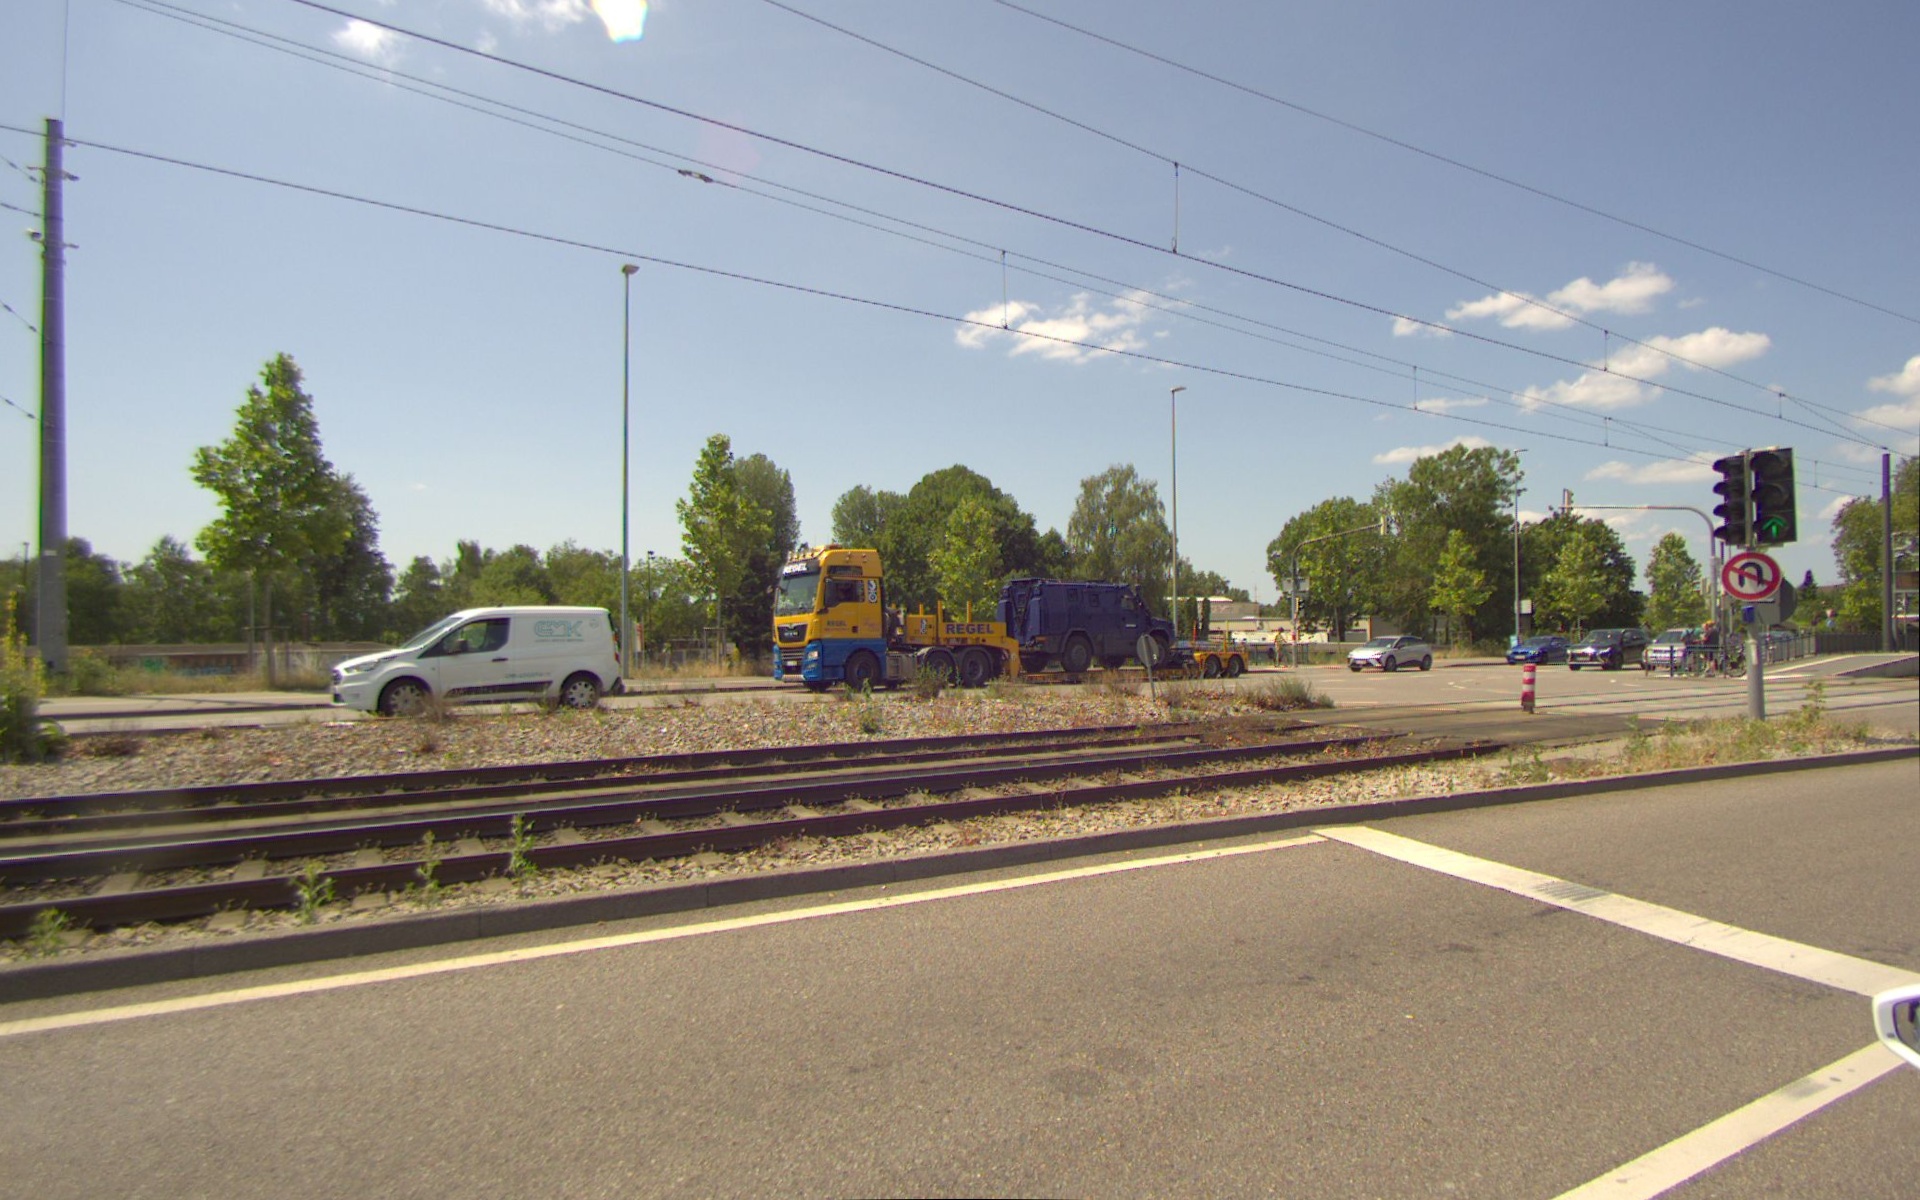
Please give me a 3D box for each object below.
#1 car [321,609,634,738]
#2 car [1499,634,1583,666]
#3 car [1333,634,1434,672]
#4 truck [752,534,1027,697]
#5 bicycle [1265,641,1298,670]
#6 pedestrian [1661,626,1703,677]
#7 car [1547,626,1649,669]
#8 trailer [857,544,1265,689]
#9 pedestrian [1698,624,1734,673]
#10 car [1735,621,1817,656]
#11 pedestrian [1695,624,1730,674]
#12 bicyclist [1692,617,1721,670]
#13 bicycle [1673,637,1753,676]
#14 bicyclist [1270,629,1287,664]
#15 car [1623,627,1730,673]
[{"bbox_3d":[-7.970,1.108,16.808,4.396,1.862,1.977,1,-1,-40],"label":"car"},{"bbox_3d":[29.321,2.487,50.702,4.303,1.464,1.982,1,-1,-33],"label":"car"},{"bbox_3d":[18.144,2.216,42.978,4.232,1.483,1.982,1,-1,-33],"label":"car"},{"bbox_3d":[-1.884,0.446,28.728,7.407,4.092,3.102,1,-1,-38],"label":"truck"},{"bbox_3d":[14.904,2.563,46.580,0.582,1.209,1.525,3,0,-24],"label":"bicycle"},{"bbox_3d":[23.935,1.692,33.302,0.756,1.631,0.950,0,-1,-34],"label":"pedestrian"},{"bbox_3d":[26.093,1.891,41.063,3.954,1.650,1.983,1,-1,-31],"label":"car"},{"bbox_3d":[4.015,0.561,33.176,15.335,3.922,3.093,1,-1,-37],"label":"trailer"},{"bbox_3d":[25.144,1.600,33.404,0.756,1.569,0.757,0,-1,-34],"label":"pedestrian"},{"bbox_3d":[40.526,1.881,49.866,3.954,1.650,1.983,1,-1,-31],"label":"car"},{"bbox_3d":[26.030,1.687,34.762,0.756,1.694,0.757,0,-1,-34],"label":"pedestrian"},{"bbox_3d":[23.604,1.375,31.756,0.656,1.636,0.729,0,0,42],"label":"bicyclist"},{"bbox_3d":[23.770,1.770,31.730,1.950,1.115,0.760,0,-1,43],"label":"bicycle"},{"bbox_3d":[14.827,2.149,46.766,0.537,1.631,0.584,0,-1,-26],"label":"bicyclist"},{"bbox_3d":[27.752,1.903,38.901,3.954,1.650,1.983,1,-1,-31],"label":"car"}]
